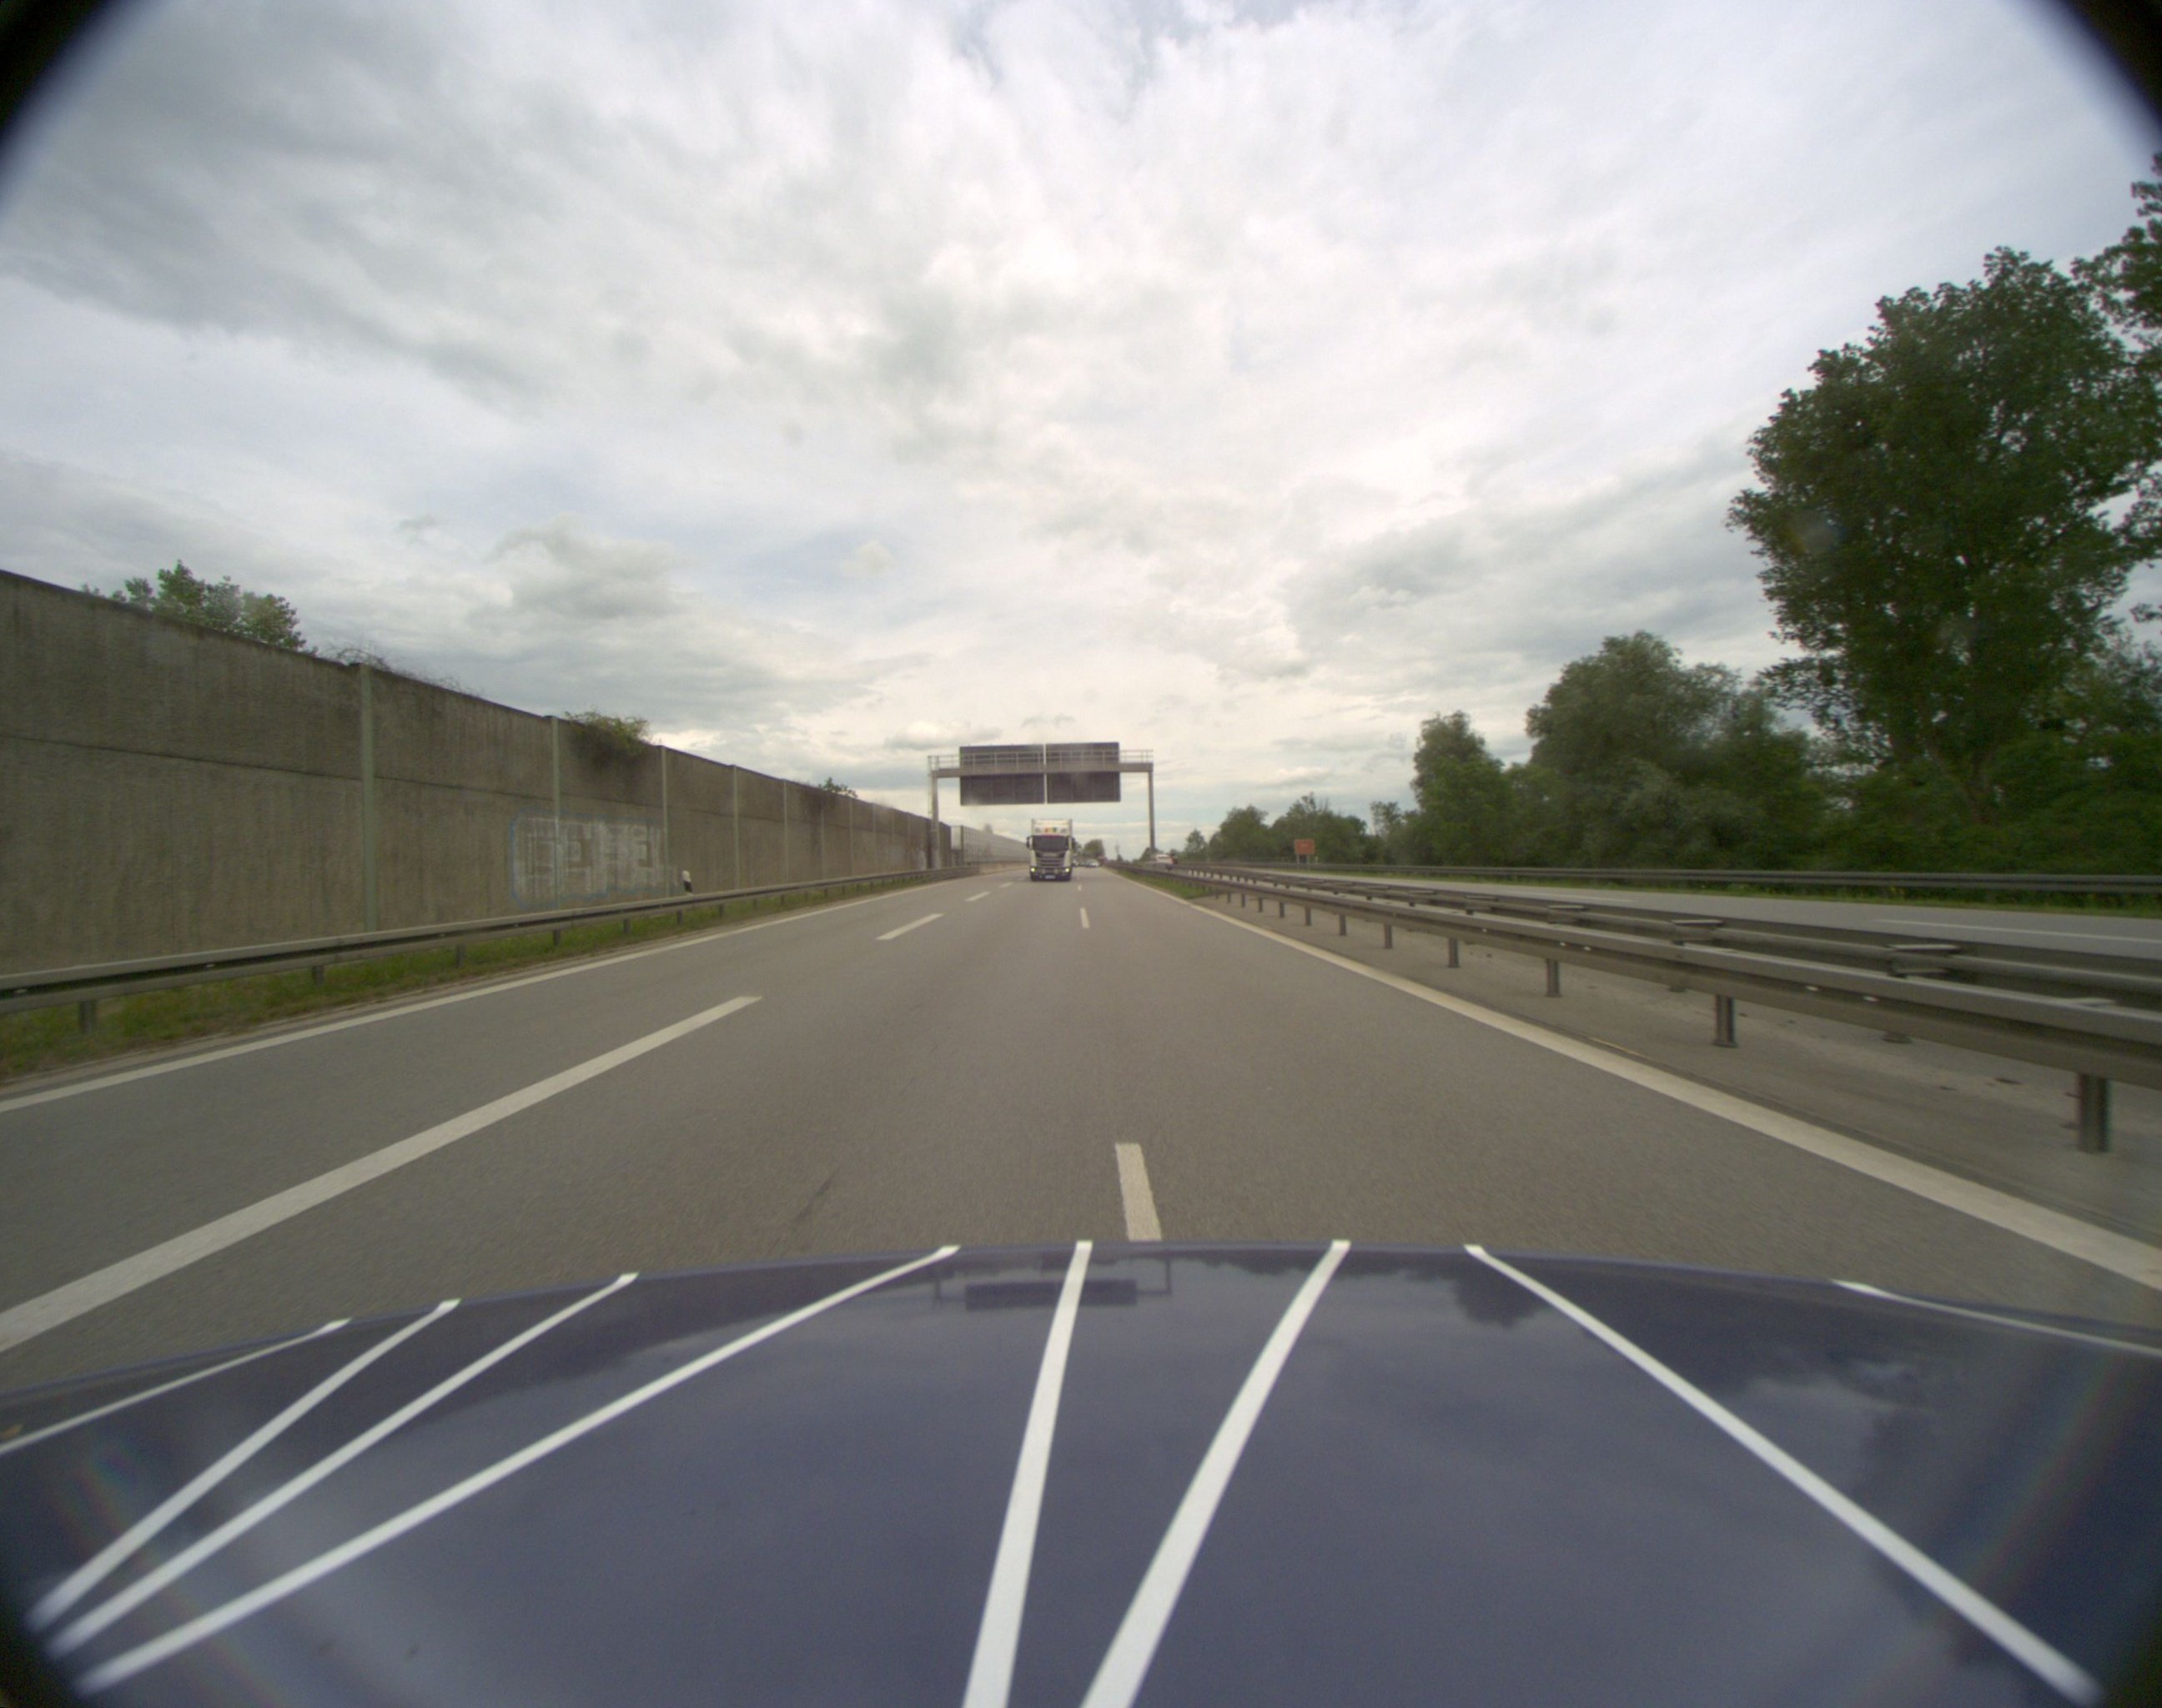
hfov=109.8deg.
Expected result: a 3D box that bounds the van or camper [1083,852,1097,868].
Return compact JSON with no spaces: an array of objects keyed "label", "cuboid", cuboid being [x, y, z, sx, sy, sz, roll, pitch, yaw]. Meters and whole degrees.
[{"label":"van or camper","cuboid":[1.533,1.119,135.184,2.435,2.680,7.227,0,-1,0]}]

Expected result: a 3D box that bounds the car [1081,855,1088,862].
[{"label":"car","cuboid":[0.855,1.160,189.316,1.889,1.608,4.000,-1,0,0]}]

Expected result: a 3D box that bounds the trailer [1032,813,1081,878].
[{"label":"trailer","cuboid":[-1.585,-0.457,55.755,2.799,4.150,14.106,0,-1,1]}]

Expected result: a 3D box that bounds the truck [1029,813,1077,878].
[{"label":"truck","cuboid":[-1.718,-0.455,48.926,2.763,3.936,5.678,0,0,1]}]

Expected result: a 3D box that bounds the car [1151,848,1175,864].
[{"label":"car","cuboid":[8.711,0.170,80.976,1.998,1.606,5.028,-1,0,1]}]
